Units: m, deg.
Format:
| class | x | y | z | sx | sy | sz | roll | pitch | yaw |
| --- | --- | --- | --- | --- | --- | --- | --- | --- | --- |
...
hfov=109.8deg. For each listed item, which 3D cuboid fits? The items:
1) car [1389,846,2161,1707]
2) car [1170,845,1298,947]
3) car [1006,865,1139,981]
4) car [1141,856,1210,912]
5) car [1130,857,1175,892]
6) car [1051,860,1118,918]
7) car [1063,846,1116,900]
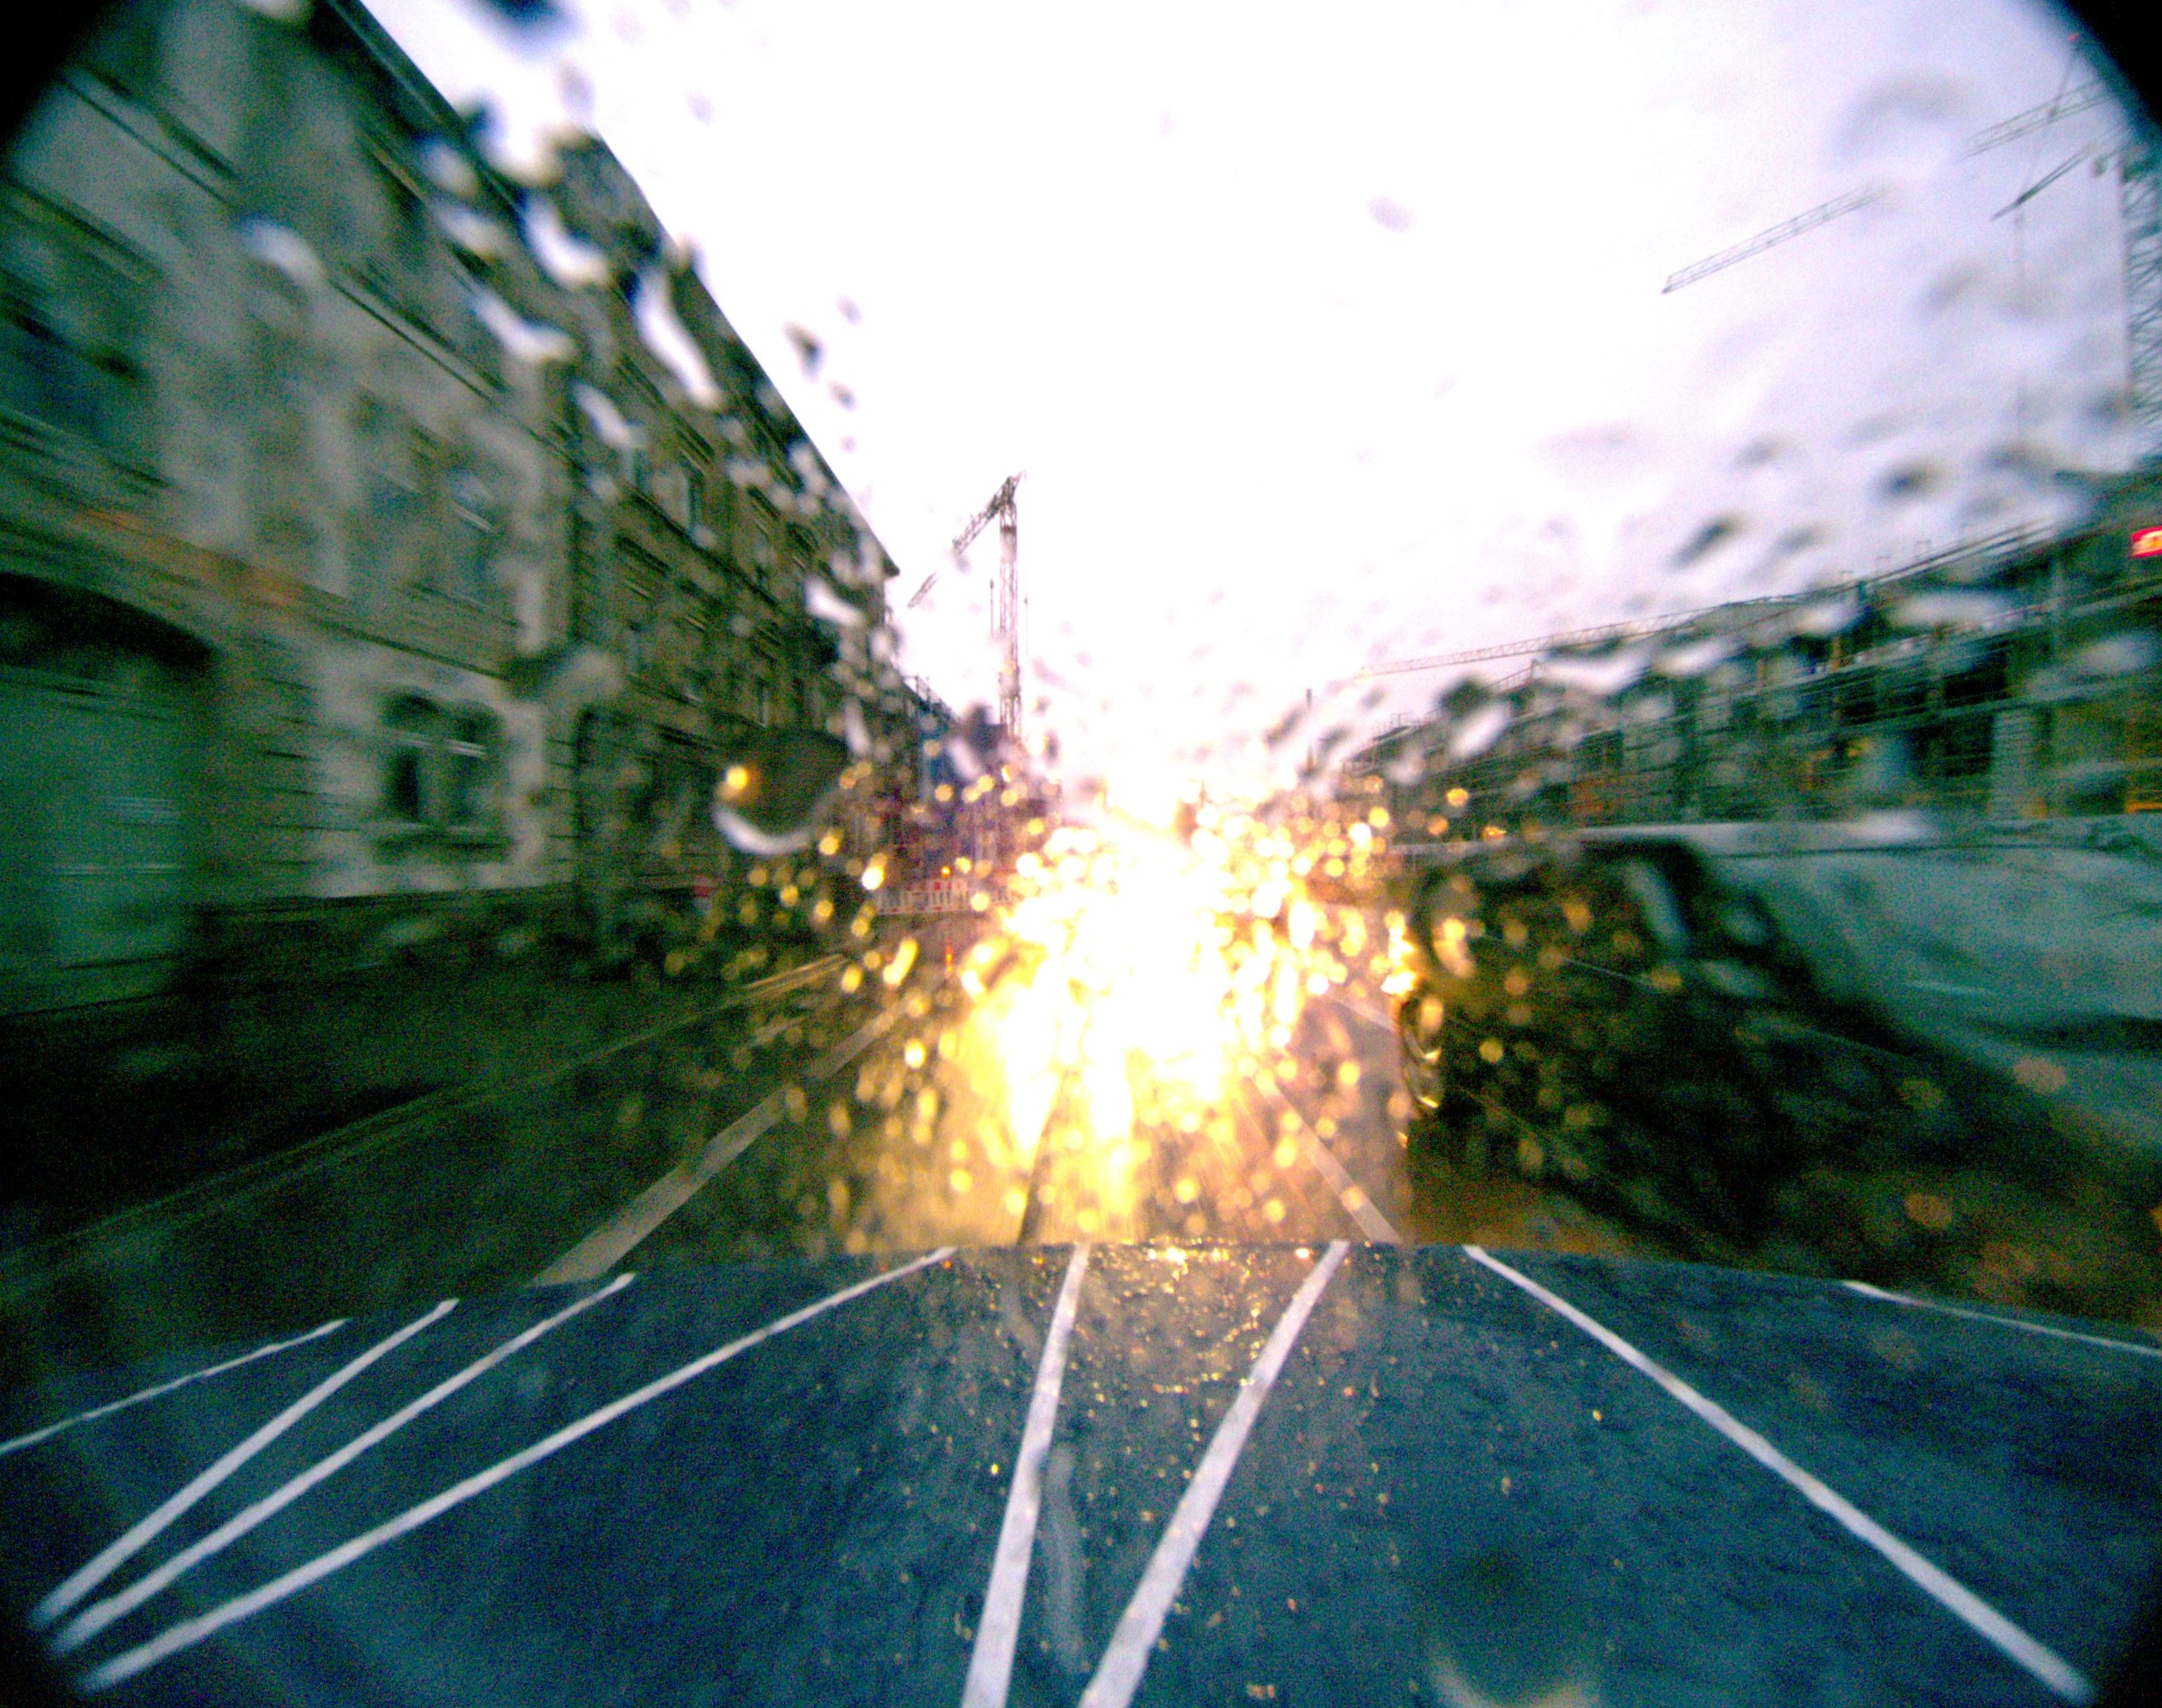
| class | x | y | z | sx | sy | sz | roll | pitch | yaw |
| --- | --- | --- | --- | --- | --- | --- | --- | --- | --- |
| car | 2.575 | 0.798 | 2.198 | 1.764 | 1.584 | 4.000 | -2 | 0 | 1 |
| car | 2.912 | 0.715 | 15.277 | 1.858 | 1.723 | 4.000 | -2 | 0 | 2 |
| car | -0.142 | 0.969 | 12.348 | 1.764 | 1.443 | 3.999 | -2 | 0 | -1 |
| car | 3.136 | 0.947 | 26.005 | 1.844 | 1.644 | 4.324 | -2 | 0 | 1 |
| car | 3.525 | 0.979 | 38.157 | 1.844 | 1.547 | 4.000 | -2 | 0 | 0 |
| car | 0.061 | 0.953 | 22.270 | 1.764 | 1.443 | 3.999 | -2 | 0 | -1 |
| car | 0.288 | 0.672 | 29.619 | 1.858 | 1.886 | 3.999 | -2 | 1 | -1 |
